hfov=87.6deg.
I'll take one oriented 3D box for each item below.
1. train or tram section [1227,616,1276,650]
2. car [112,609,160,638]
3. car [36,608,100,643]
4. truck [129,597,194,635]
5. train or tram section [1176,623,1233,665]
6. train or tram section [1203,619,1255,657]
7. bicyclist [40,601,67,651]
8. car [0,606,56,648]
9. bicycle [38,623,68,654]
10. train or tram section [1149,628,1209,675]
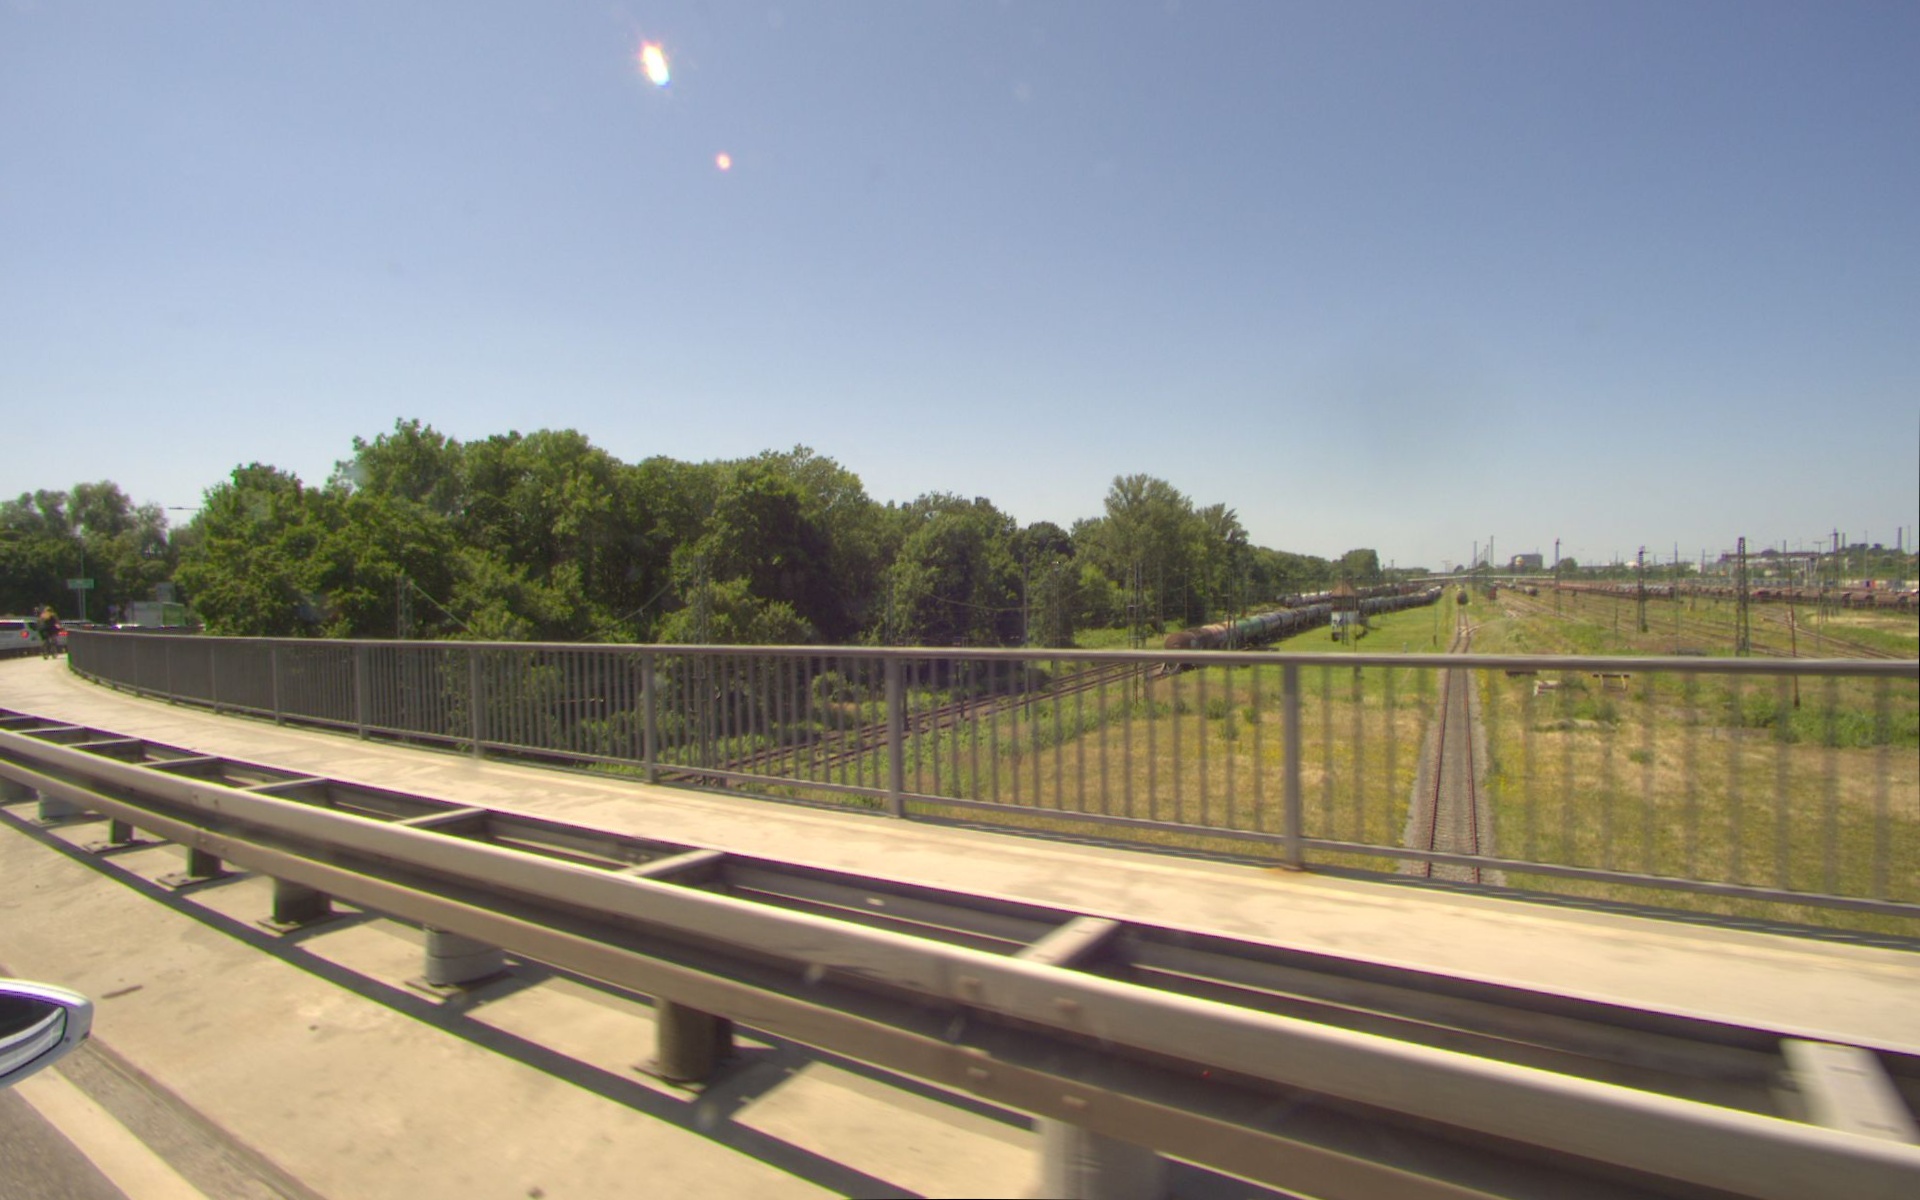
[{"bbox_3d":[44.097,4.877,151.173,3.796,4.365,13.562,-2,0,30],"label":"train or tram section"},{"bbox_3d":[-55.466,1.583,67.466,1.700,1.868,3.982,1,-1,-27],"label":"car"},{"bbox_3d":[-48.185,1.367,54.175,1.701,1.826,3.981,1,-1,-28],"label":"car"},{"bbox_3d":[-63.601,1.269,79.881,2.303,2.911,5.925,1,-1,-21],"label":"truck"},{"bbox_3d":[31.286,5.500,127.349,3.792,4.365,13.573,-2,0,28],"label":"train or tram section"},{"bbox_3d":[37.532,5.185,139.369,3.793,4.365,13.569,-2,0,28],"label":"train or tram section"},{"bbox_3d":[-31.506,0.910,34.815,0.572,1.705,0.724,-3,2,-37],"label":"bicyclist"},{"bbox_3d":[-44.365,1.245,47.350,1.703,1.868,3.976,1,-1,-32],"label":"car"},{"bbox_3d":[-31.566,1.324,34.864,0.576,1.049,1.474,-3,1,-37],"label":"bicycle"},{"bbox_3d":[25.345,5.802,115.089,3.789,4.365,13.584,-2,0,24],"label":"train or tram section"}]
